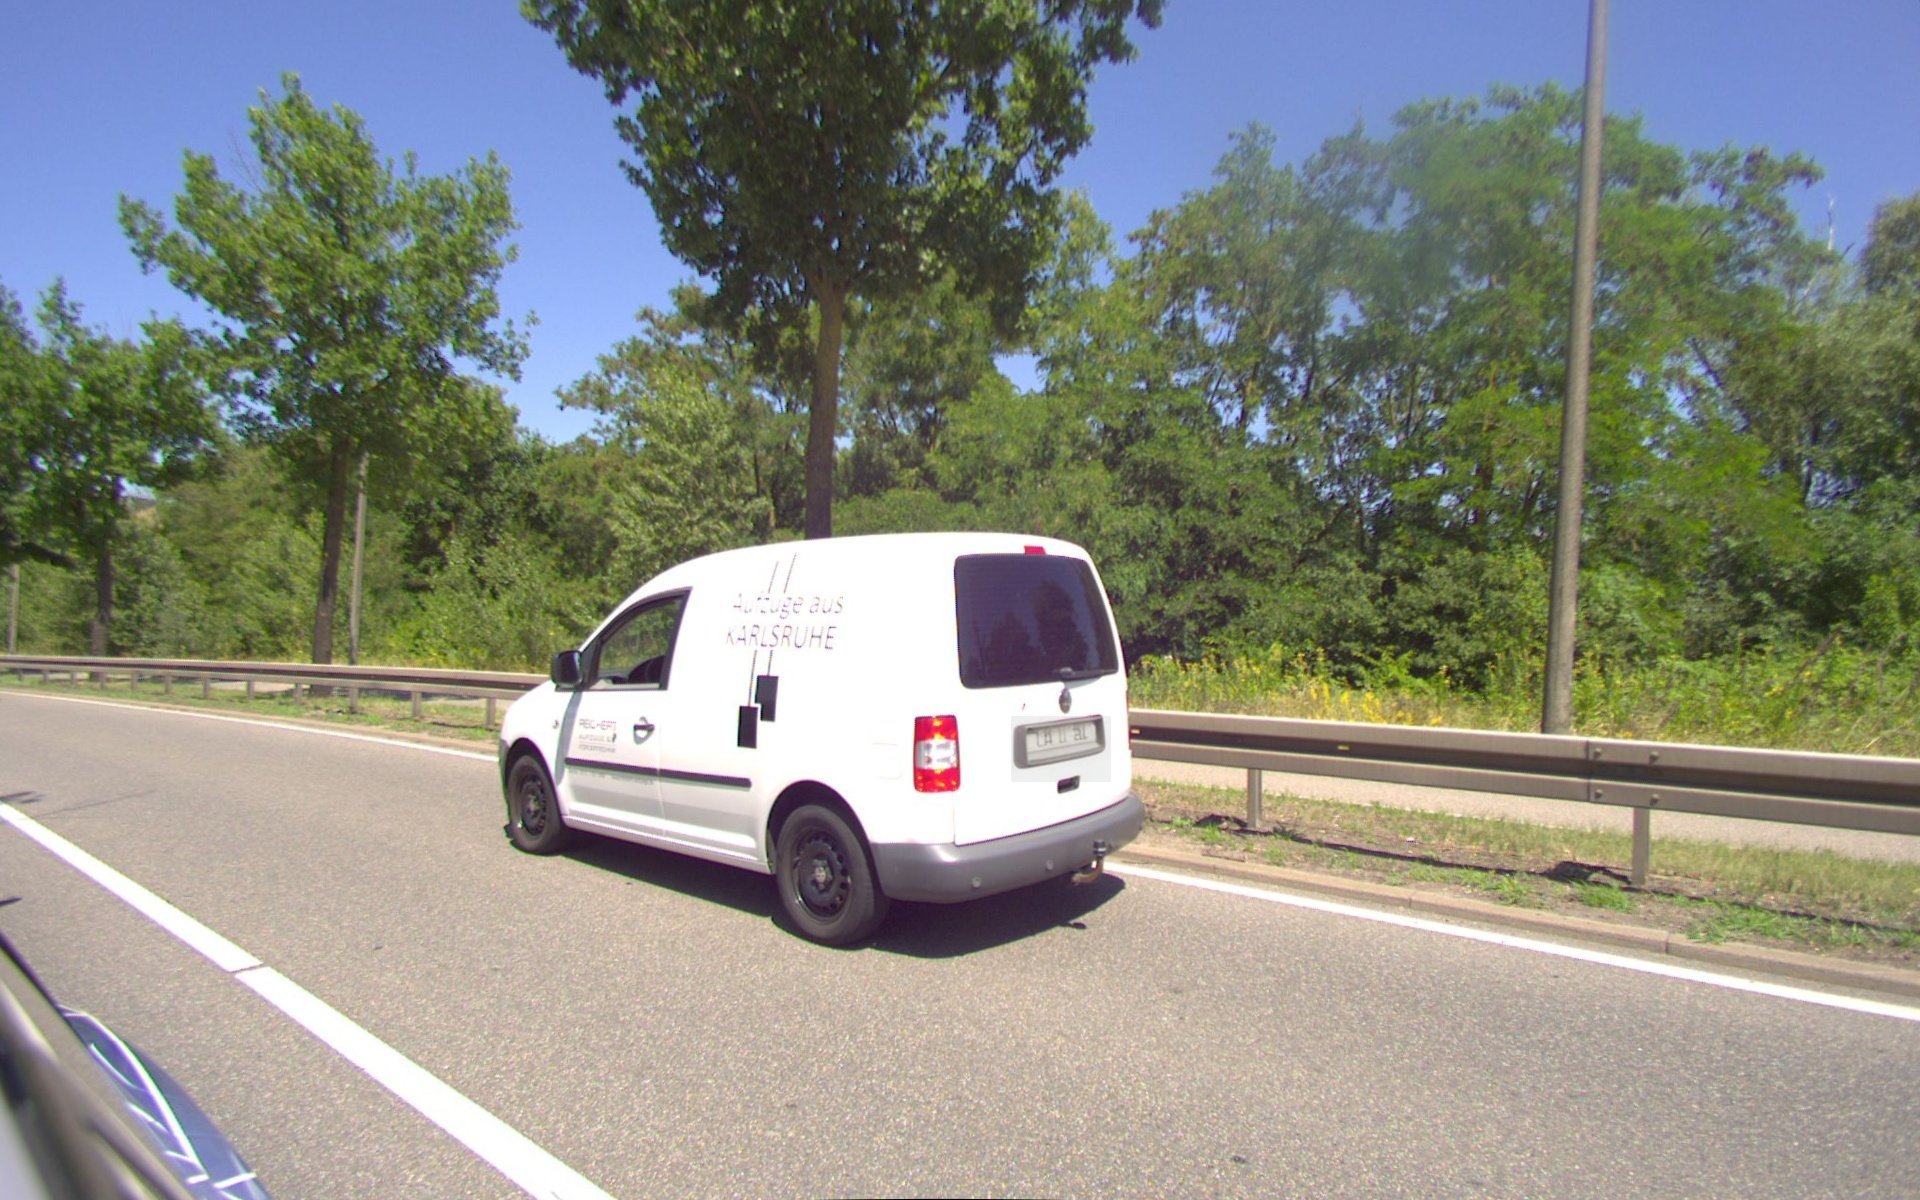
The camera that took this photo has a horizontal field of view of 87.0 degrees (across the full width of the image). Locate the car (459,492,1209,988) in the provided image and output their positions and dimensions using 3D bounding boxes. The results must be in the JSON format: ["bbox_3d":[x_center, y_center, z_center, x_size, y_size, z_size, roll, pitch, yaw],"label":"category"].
[{"bbox_3d":[-1.007,0.529,5.733,4.386,1.776,1.727,-1,0,41],"label":"car"}]
